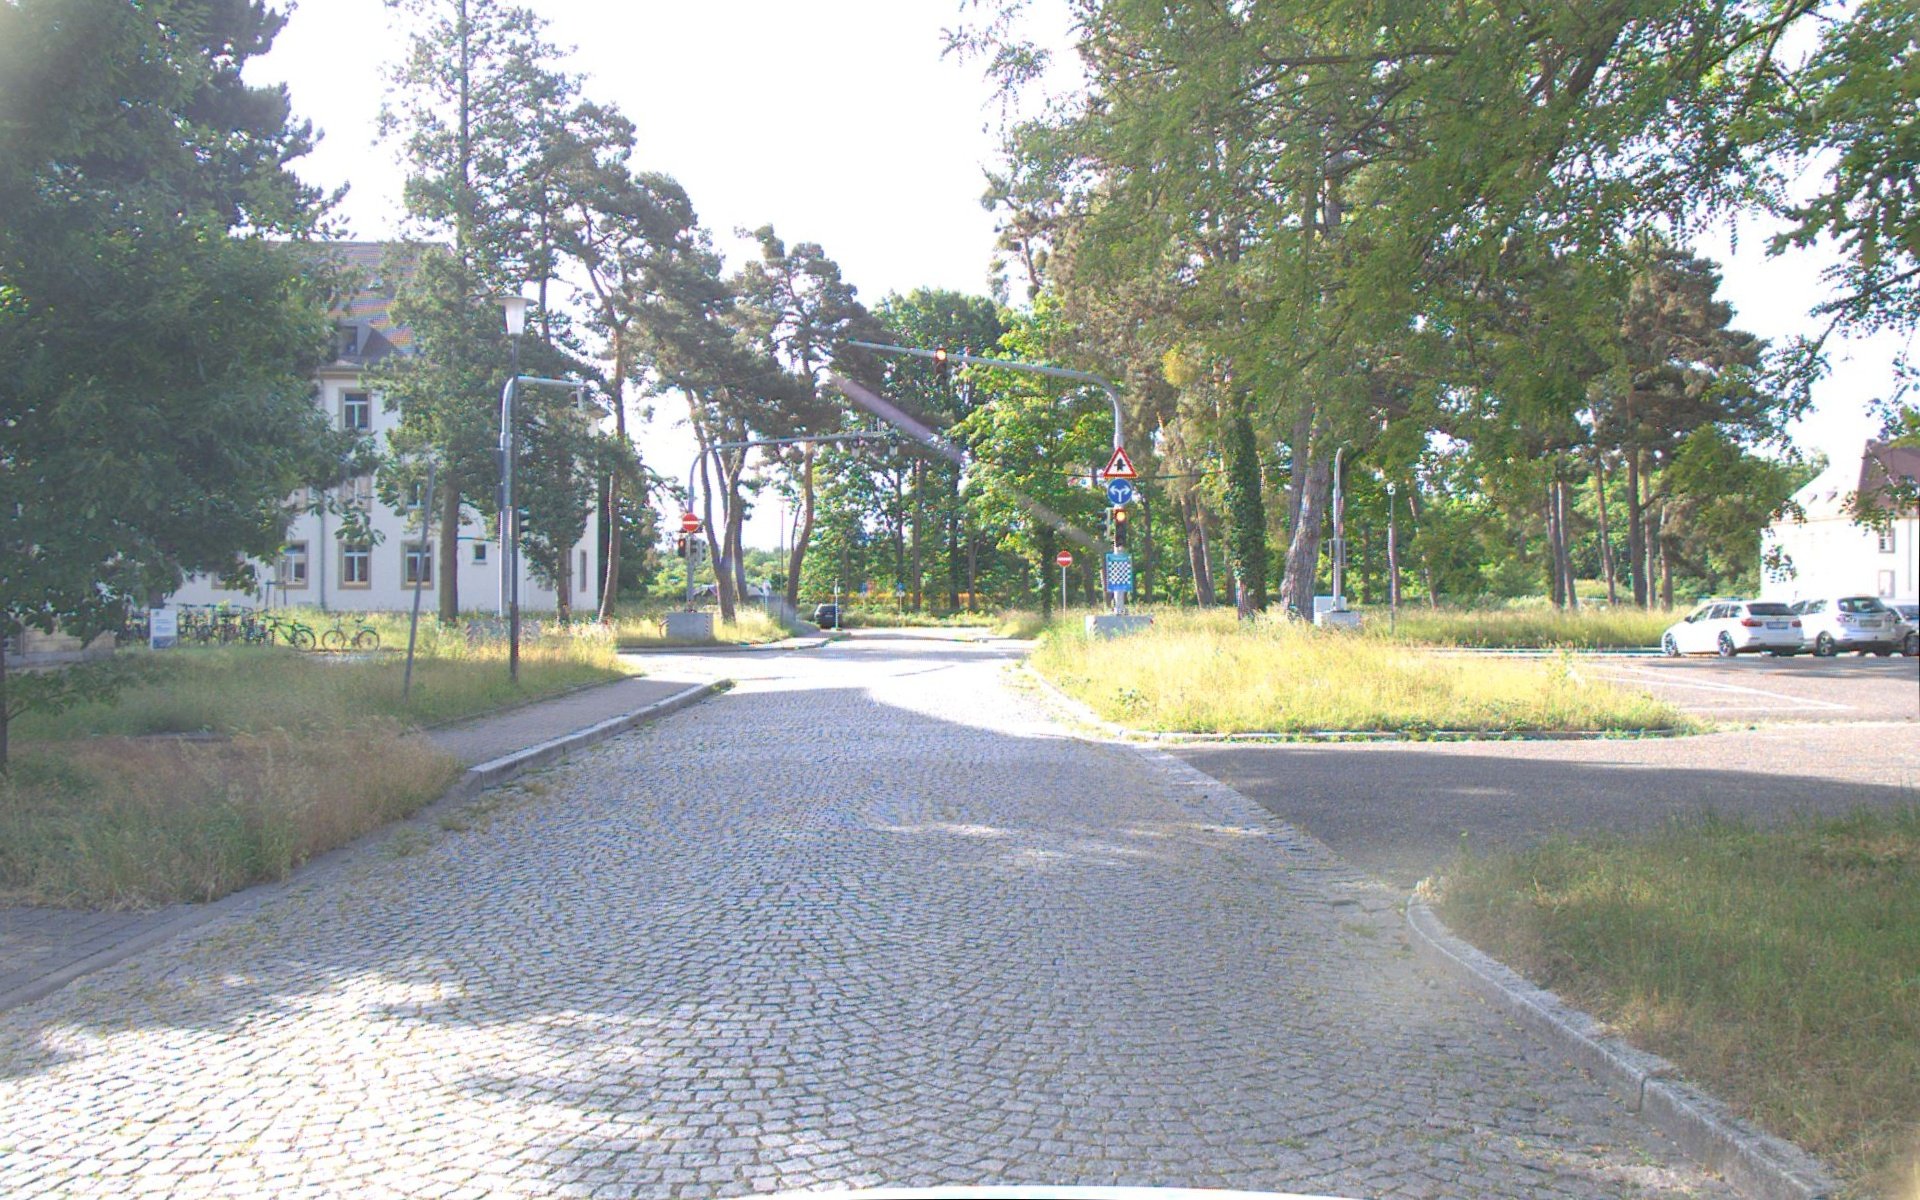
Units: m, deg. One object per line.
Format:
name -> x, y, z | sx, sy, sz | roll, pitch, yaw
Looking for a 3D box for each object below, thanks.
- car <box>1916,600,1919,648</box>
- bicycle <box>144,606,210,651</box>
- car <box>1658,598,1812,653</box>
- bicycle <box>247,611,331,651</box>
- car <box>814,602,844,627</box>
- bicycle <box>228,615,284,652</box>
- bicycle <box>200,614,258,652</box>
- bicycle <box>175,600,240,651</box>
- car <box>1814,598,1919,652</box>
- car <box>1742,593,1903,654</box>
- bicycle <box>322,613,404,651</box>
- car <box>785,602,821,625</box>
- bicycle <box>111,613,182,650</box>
car -> 27.712, 0.669, 44.070 | 1.697, 1.335, 4.327 | -1, 0, -5
bicycle -> -23.176, 0.819, 49.010 | 0.809, 1.303, 2.553 | 0, 0, -2
car -> 20.015, 0.623, 42.932 | 1.697, 1.335, 4.327 | 0, 0, -5
bicycle -> -19.415, 0.881, 47.883 | 2.076, 1.128, 0.828 | 0, 0, -5
car -> -8.362, 0.905, 105.761 | 1.808, 1.512, 3.997 | 0, 0, -4
bicycle -> -20.875, 0.987, 49.087 | 0.809, 1.065, 2.123 | 0, 0, -2
bicycle -> -21.641, 0.971, 49.019 | 0.809, 1.065, 2.123 | 0, 0, -2
bicycle -> -22.425, 0.743, 49.336 | 0.809, 1.462, 2.553 | 0, 0, -2
car -> 24.717, 0.629, 43.781 | 1.697, 1.335, 4.327 | -1, 0, -5
car -> 22.478, 0.586, 43.319 | 1.697, 1.502, 4.327 | 0, 0, -5
bicycle -> -17.334, 0.924, 48.045 | 2.076, 1.065, 0.828 | 0, 0, -5
car -> -10.467, 0.897, 110.487 | 1.745, 1.516, 3.757 | 0, 0, 5
bicycle -> -24.060, 0.919, 48.981 | 0.882, 1.065, 2.553 | 0, 0, -2
